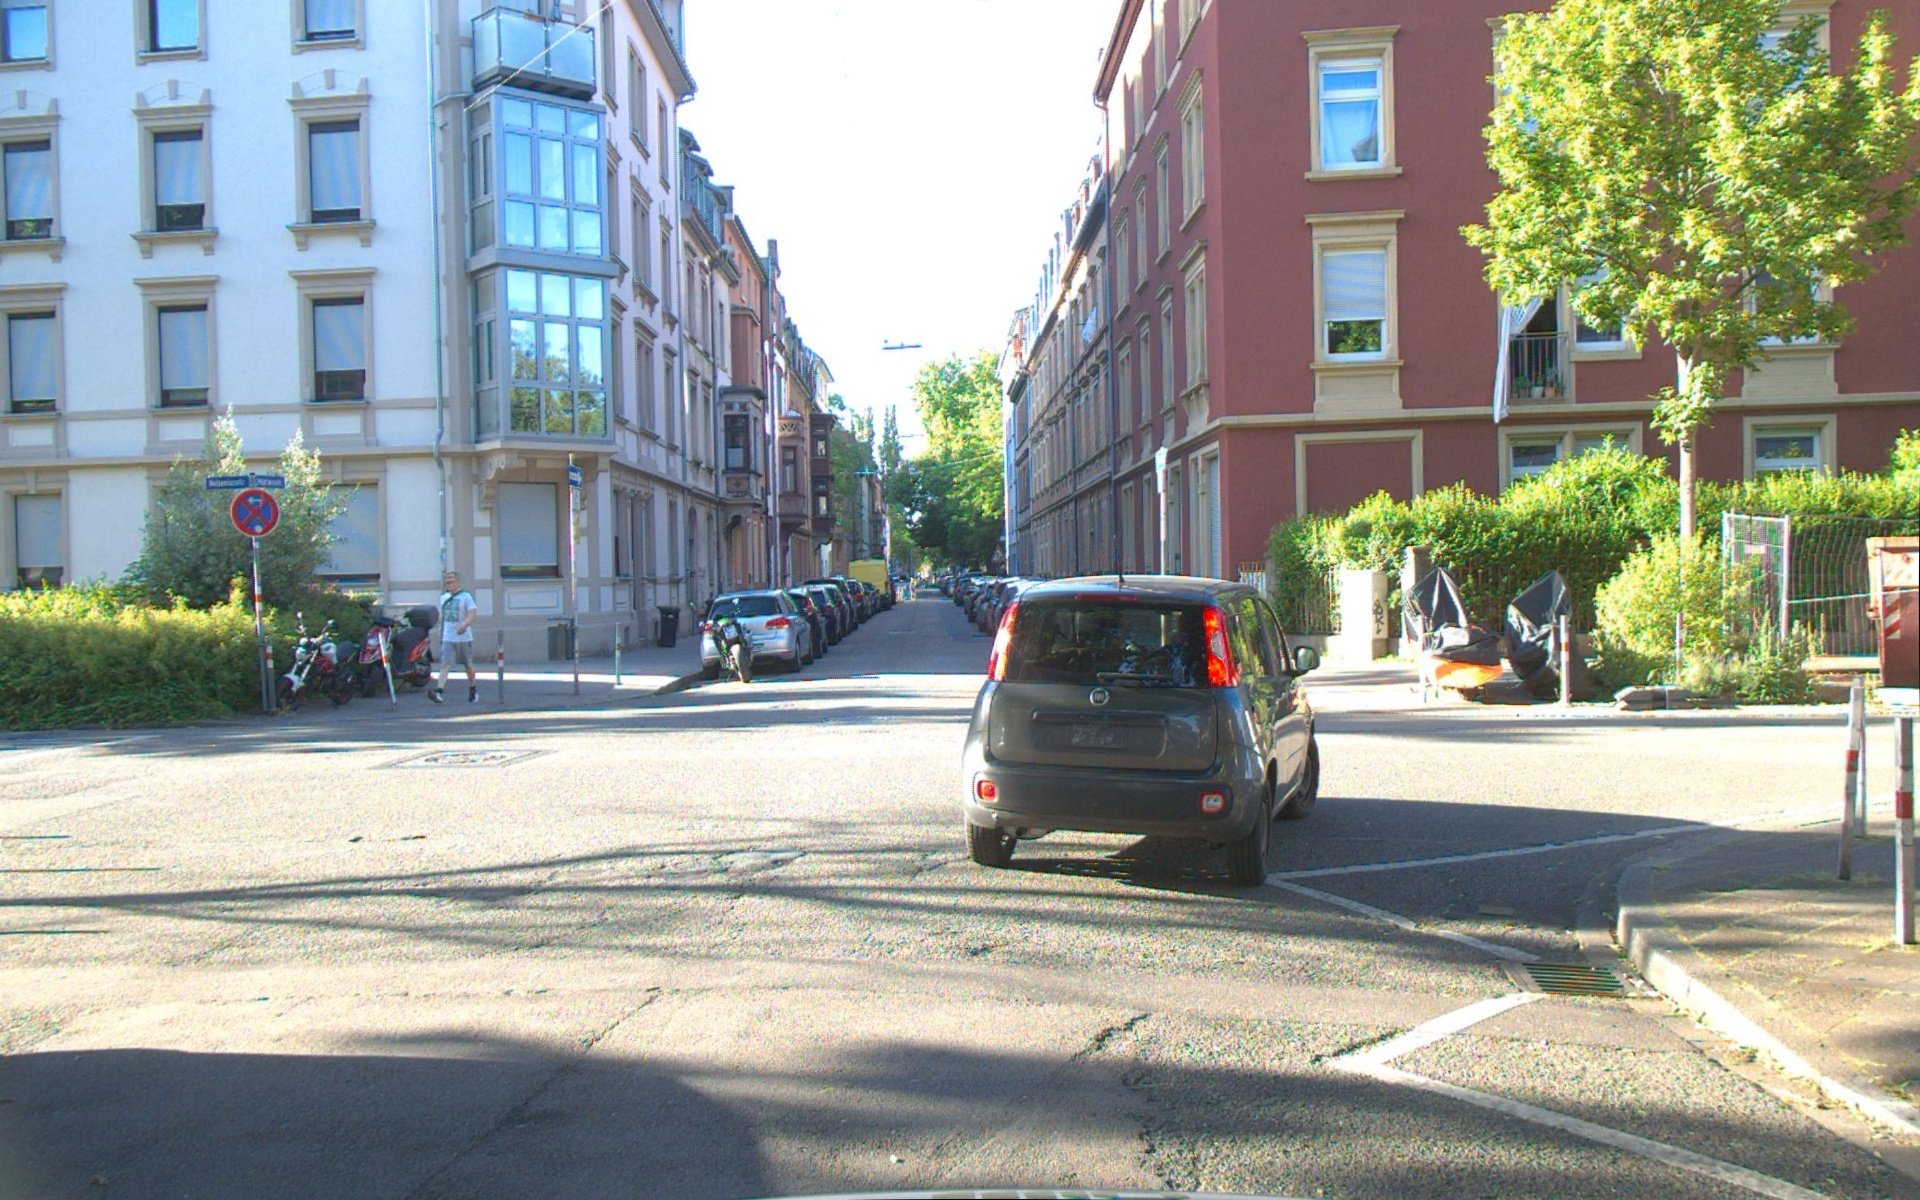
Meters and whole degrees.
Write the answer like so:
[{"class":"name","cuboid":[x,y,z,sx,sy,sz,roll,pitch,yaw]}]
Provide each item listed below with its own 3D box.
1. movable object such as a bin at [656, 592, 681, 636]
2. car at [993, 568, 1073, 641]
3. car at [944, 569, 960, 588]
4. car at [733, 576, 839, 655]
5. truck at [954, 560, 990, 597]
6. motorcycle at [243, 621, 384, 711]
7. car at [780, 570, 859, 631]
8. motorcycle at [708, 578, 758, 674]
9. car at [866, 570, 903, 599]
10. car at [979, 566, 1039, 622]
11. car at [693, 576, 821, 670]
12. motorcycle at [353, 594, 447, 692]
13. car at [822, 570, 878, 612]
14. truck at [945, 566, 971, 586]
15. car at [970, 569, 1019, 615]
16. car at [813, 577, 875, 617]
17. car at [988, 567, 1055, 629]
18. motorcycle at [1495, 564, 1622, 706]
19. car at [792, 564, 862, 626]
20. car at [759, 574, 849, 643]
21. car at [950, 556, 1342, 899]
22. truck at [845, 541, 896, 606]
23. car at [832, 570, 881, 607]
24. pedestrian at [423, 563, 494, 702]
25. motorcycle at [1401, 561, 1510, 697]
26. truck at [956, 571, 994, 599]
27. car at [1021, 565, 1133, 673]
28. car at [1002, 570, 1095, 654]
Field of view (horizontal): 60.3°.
[{"class":"movable object such as a bin","cuboid":[-6.738,0.320,38.231,0.501,0.969,0.501,-1,1,-4]},{"class":"car","cuboid":[1.603,0.064,37.132,1.629,1.531,3.757,0,1,0]},{"class":"car","cuboid":[-0.721,-1.989,151.990,1.340,1.646,3.414,-1,1,0]},{"class":"car","cuboid":[-3.671,0.279,35.486,1.741,1.437,3.925,-5,1,0]},{"class":"truck","cuboid":[0.673,-1.276,96.794,1.953,2.026,4.000,-1,1,-1]},{"class":"motorcycle","cuboid":[-8.371,0.832,21.503,0.675,1.002,1.822,3,3,19]},{"class":"car","cuboid":[-3.922,-0.018,46.799,1.791,1.504,3.925,-5,1,0]},{"class":"motorcycle","cuboid":[-3.735,0.406,27.101,0.684,1.486,1.747,-3,1,-10]},{"class":"car","cuboid":[-4.469,-0.944,98.262,1.922,1.504,3.925,-5,1,0]},{"class":"car","cuboid":[1.384,-0.197,48.120,1.629,1.559,3.757,0,1,0]},{"class":"car","cuboid":[-3.649,0.365,30.400,1.760,1.456,3.925,-5,1,0]},{"class":"motorcycle","cuboid":[-8.058,0.597,23.860,0.507,1.316,1.613,0,1,13]},{"class":"car","cuboid":[-4.552,-0.402,68.887,1.922,1.504,3.925,-5,1,0]},{"class":"truck","cuboid":[-0.153,-1.886,130.970,1.953,1.482,4.000,-1,1,-1]},{"class":"car","cuboid":[1.164,-0.296,57.202,1.629,1.531,3.757,0,1,0]},{"class":"car","cuboid":[-4.253,-0.130,61.241,1.922,1.245,3.925,-5,1,0]},{"class":"car","cuboid":[1.577,-0.083,43.534,1.629,1.531,3.757,0,1,0]},{"class":"motorcycle","cuboid":[6.809,0.350,18.963,0.809,1.428,2.559,-1,3,7]},{"class":"car","cuboid":[-4.142,-0.199,51.951,1.739,1.728,3.925,-5,1,0]},{"class":"car","cuboid":[-3.879,0.182,41.699,1.788,1.492,3.925,-5,1,0]},{"class":"car","cuboid":[1.223,0.550,9.558,1.598,1.577,3.266,1,2,18]},{"class":"truck","cuboid":[-4.446,-1.336,82.989,2.029,2.976,5.068,-5,1,0]},{"class":"car","cuboid":[-4.721,-0.555,75.893,1.922,1.504,3.925,-5,1,0]},{"class":"pedestrian","cuboid":[-6.882,0.432,22.722,0.707,1.871,0.627,0,1,10]},{"class":"motorcycle","cuboid":[5.834,0.307,19.593,0.998,1.428,2.195,-1,3,11]},{"class":"truck","cuboid":[0.807,-0.850,91.420,1.953,1.482,4.000,-1,1,-1]},{"class":"car","cuboid":[1.917,0.258,28.046,1.629,1.698,3.757,0,1,0]},{"class":"car","cuboid":[1.686,0.195,32.536,1.629,1.531,3.757,0,1,0]}]
